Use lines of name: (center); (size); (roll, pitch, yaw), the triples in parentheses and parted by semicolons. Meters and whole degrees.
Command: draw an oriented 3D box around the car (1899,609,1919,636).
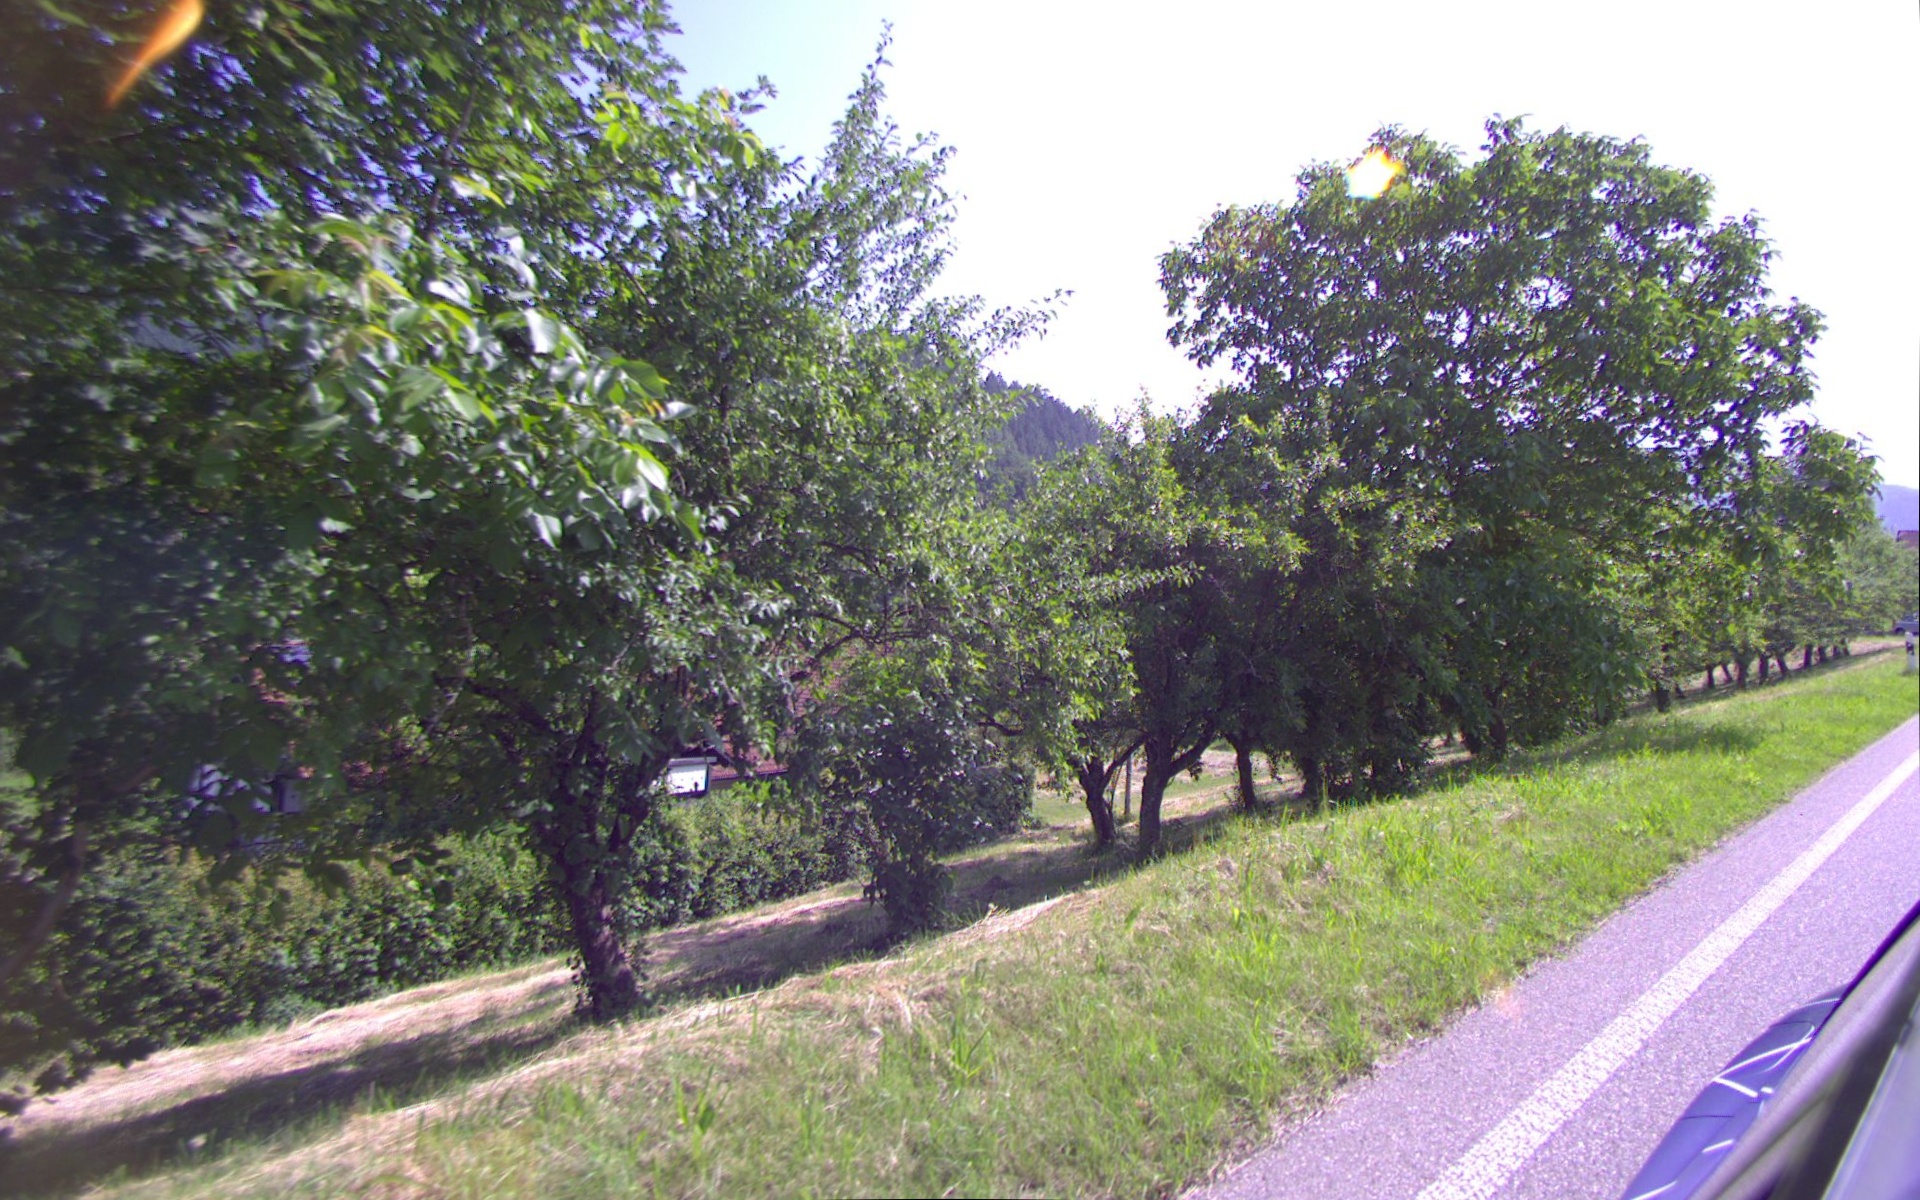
car: (58.677, 1.277, 60.015); (1.871, 1.591, 4.456); (-2, -3, 3)
